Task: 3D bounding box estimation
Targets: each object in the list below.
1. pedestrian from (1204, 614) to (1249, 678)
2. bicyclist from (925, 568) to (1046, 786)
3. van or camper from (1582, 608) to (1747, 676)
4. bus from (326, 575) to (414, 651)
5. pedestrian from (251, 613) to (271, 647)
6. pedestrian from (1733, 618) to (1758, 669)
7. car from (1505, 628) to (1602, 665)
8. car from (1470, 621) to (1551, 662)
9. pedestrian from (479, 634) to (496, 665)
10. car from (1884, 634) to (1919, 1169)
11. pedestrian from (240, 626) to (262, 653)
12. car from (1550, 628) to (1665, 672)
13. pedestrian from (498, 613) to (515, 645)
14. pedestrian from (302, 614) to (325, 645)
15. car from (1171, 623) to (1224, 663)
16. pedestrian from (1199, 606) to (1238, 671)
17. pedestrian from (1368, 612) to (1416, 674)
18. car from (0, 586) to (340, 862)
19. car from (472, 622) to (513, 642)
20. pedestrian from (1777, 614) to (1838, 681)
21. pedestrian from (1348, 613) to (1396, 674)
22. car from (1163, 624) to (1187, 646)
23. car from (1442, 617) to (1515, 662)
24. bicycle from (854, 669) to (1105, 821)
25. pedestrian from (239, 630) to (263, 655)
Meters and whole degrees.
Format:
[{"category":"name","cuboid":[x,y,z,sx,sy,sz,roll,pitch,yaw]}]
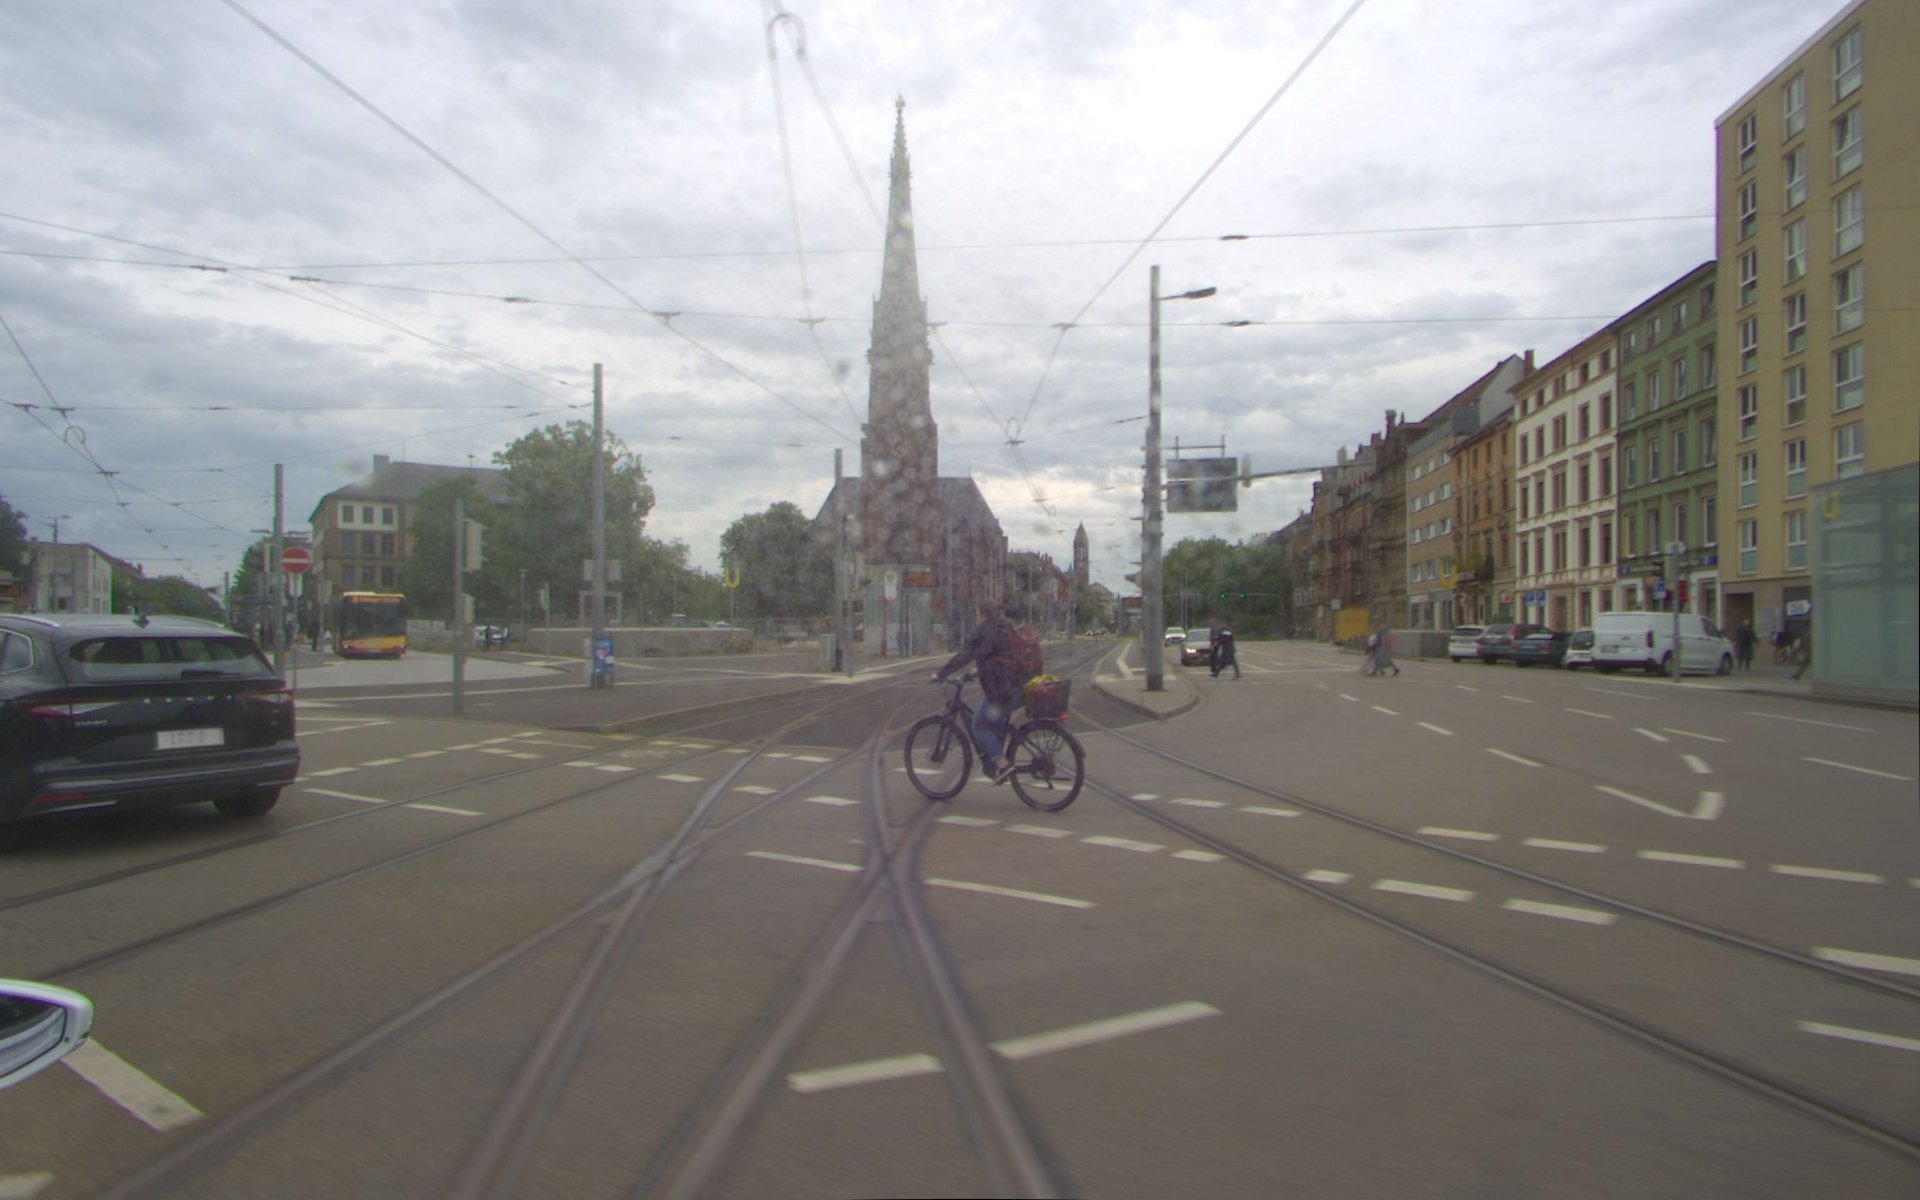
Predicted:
[{"category":"pedestrian","cuboid":[7.121,1.225,26.787,0.887,1.664,0.784,0,-1,-12]},{"category":"bicyclist","cuboid":[0.216,0.615,8.360,0.795,1.712,0.614,0,-1,35]},{"category":"van or camper","cuboid":[22.436,1.277,31.868,5.386,2.004,2.162,0,-1,-29]},{"category":"bus","cuboid":[-29.520,0.778,49.765,2.987,3.309,12.960,1,-2,-34]},{"category":"pedestrian","cuboid":[-38.260,1.648,54.811,0.815,1.831,1.015,1,-1,-31]},{"category":"pedestrian","cuboid":[27.053,1.484,34.495,0.609,1.737,0.819,0,0,33]},{"category":"car","cuboid":[22.262,1.729,37.541,3.688,1.320,1.671,1,-2,-33]},{"category":"car","cuboid":[22.474,1.691,40.849,3.702,1.602,1.874,2,-2,-44]},{"category":"pedestrian","cuboid":[-28.613,2.970,60.621,0.815,1.831,1.015,1,-1,-31]},{"category":"car","cuboid":[4.266,0.768,0.998,4.694,1.454,1.761,-1,-2,35]},{"category":"pedestrian","cuboid":[-41.798,2.321,59.024,1.007,1.596,1.002,1,-1,-32]},{"category":"car","cuboid":[22.662,1.719,35.034,3.680,1.435,1.729,1,-1,-26]},{"category":"pedestrian","cuboid":[-27.654,1.769,61.017,0.815,1.877,1.015,1,-1,-31]},{"category":"pedestrian","cuboid":[-35.097,1.579,54.408,0.994,1.666,1.015,1,-1,-31]},{"category":"car","cuboid":[9.426,1.702,39.837,1.963,1.505,4.444,0,-2,13]},{"category":"pedestrian","cuboid":[7.781,1.160,30.193,0.887,1.936,0.784,0,-1,-12]},{"category":"pedestrian","cuboid":[11.462,1.137,26.594,0.880,1.622,0.784,0,-1,-12]},{"category":"car","cuboid":[-7.210,0.814,8.047,4.447,1.679,1.902,-1,-2,30]},{"category":"car","cuboid":[-40.310,2.729,86.366,3.958,1.683,1.898,-1,-1,44]},{"category":"pedestrian","cuboid":[22.920,1.280,27.078,1.029,1.780,0.788,0,0,-11]},{"category":"pedestrian","cuboid":[11.254,1.174,27.361,0.934,1.632,0.768,0,-1,-12]},{"category":"car","cuboid":[18.608,3.024,86.520,1.963,1.772,3.998,0,-2,13]},{"category":"car","cuboid":[22.875,1.763,44.147,3.708,1.605,1.720,10,-8,-43]},{"category":"bicycle","cuboid":[0.126,1.151,8.399,2.096,1.068,0.623,-1,-1,33]},{"category":"pedestrian","cuboid":[-40.599,2.411,57.339,1.007,1.420,1.002,1,-1,-31]}]
